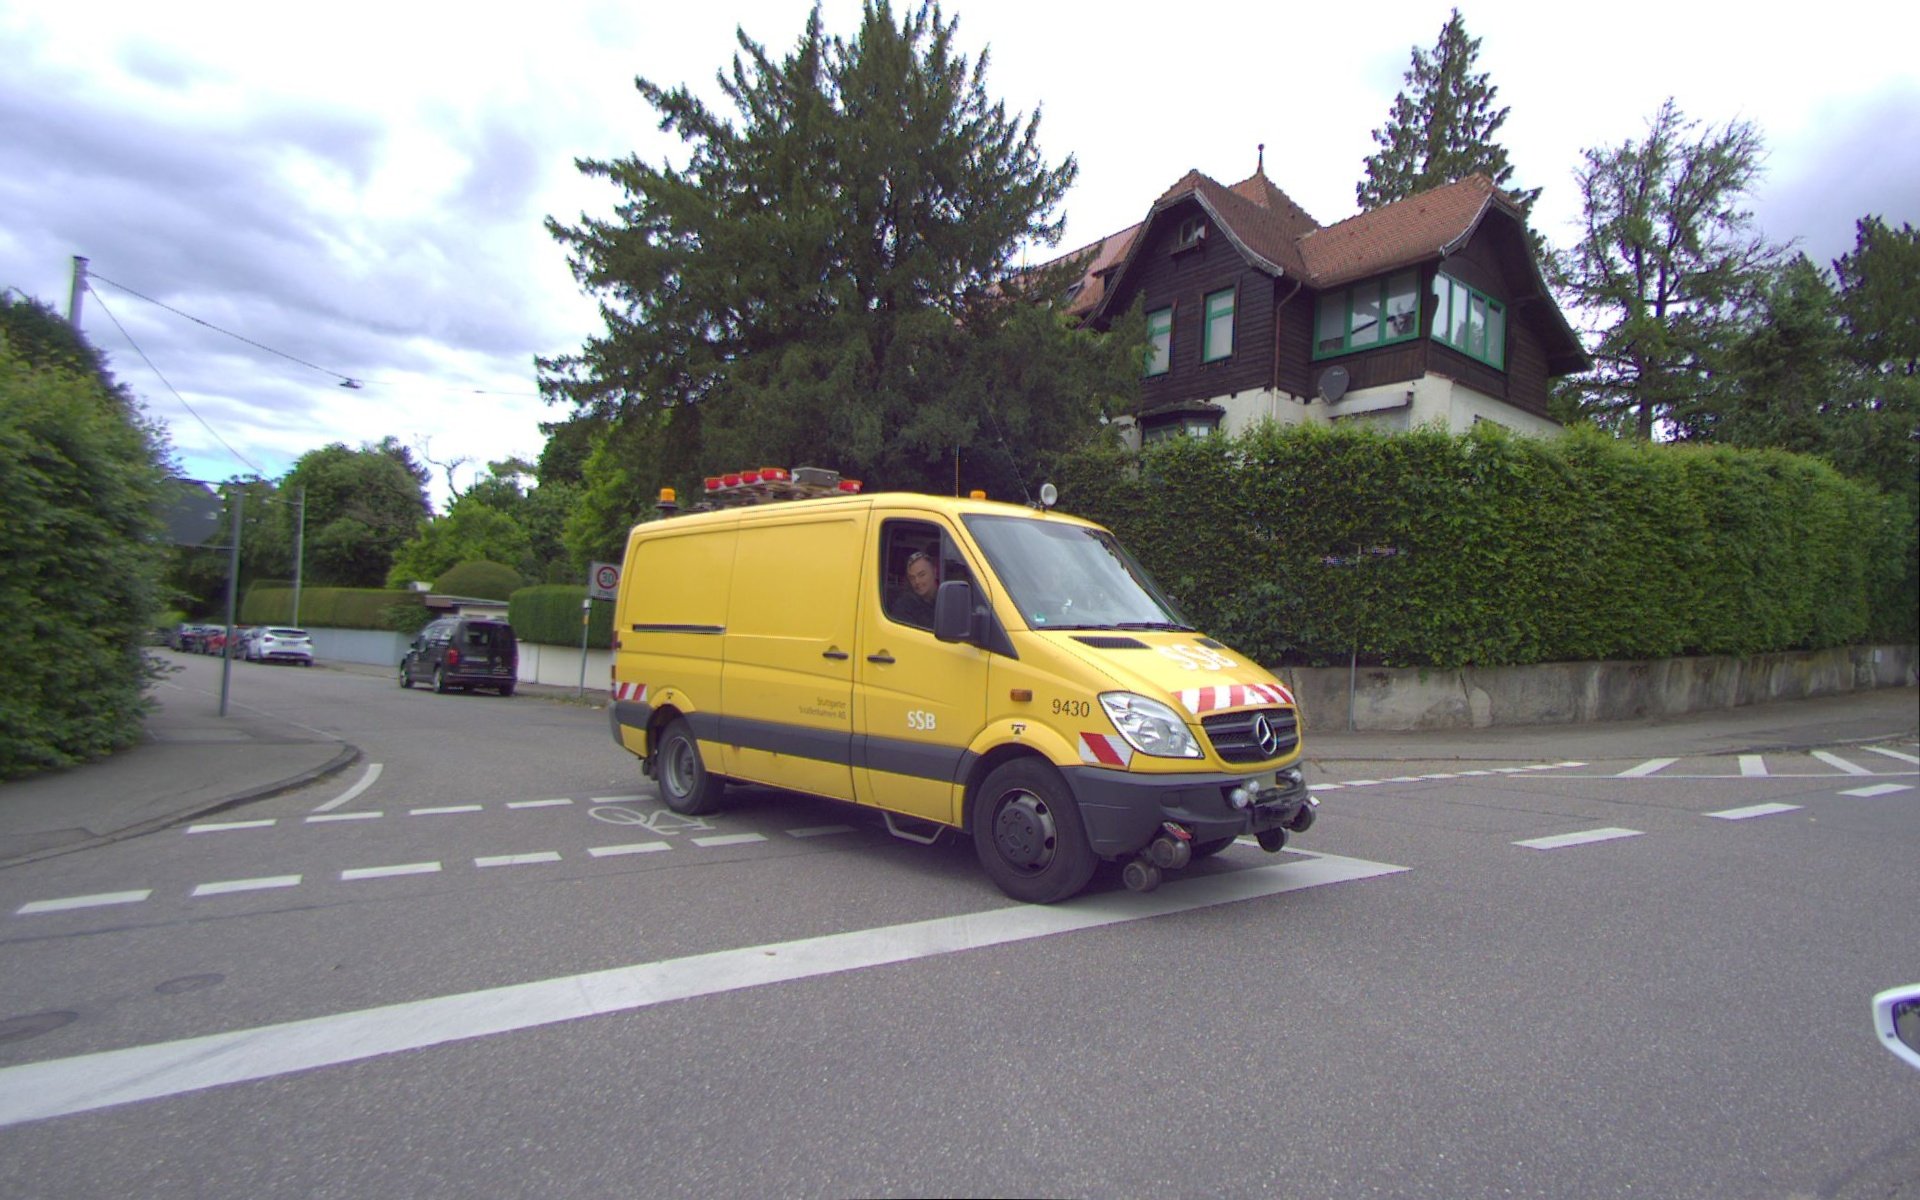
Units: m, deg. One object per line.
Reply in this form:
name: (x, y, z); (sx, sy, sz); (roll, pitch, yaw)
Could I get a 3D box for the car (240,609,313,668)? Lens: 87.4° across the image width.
car: (-26.920, 1.475, 39.531); (1.876, 2.041, 3.951); (1, 1, -42)

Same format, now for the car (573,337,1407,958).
car: (-0.313, 0.261, 7.251); (6.061, 2.636, 2.353); (-1, -2, 45)

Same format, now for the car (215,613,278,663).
car: (-33.365, 1.728, 46.922); (1.949, 2.041, 4.041); (1, 1, -42)

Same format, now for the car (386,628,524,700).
car: (-12.635, 1.532, 25.047); (4.025, 1.646, 1.816); (-2, -2, 43)

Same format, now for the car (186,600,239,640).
car: (-40.217, 1.075, 53.985); (2.017, 1.835, 3.953); (2, 2, -40)

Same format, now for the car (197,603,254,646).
car: (-36.830, 1.210, 50.355); (2.017, 1.835, 3.953); (2, 2, -40)
